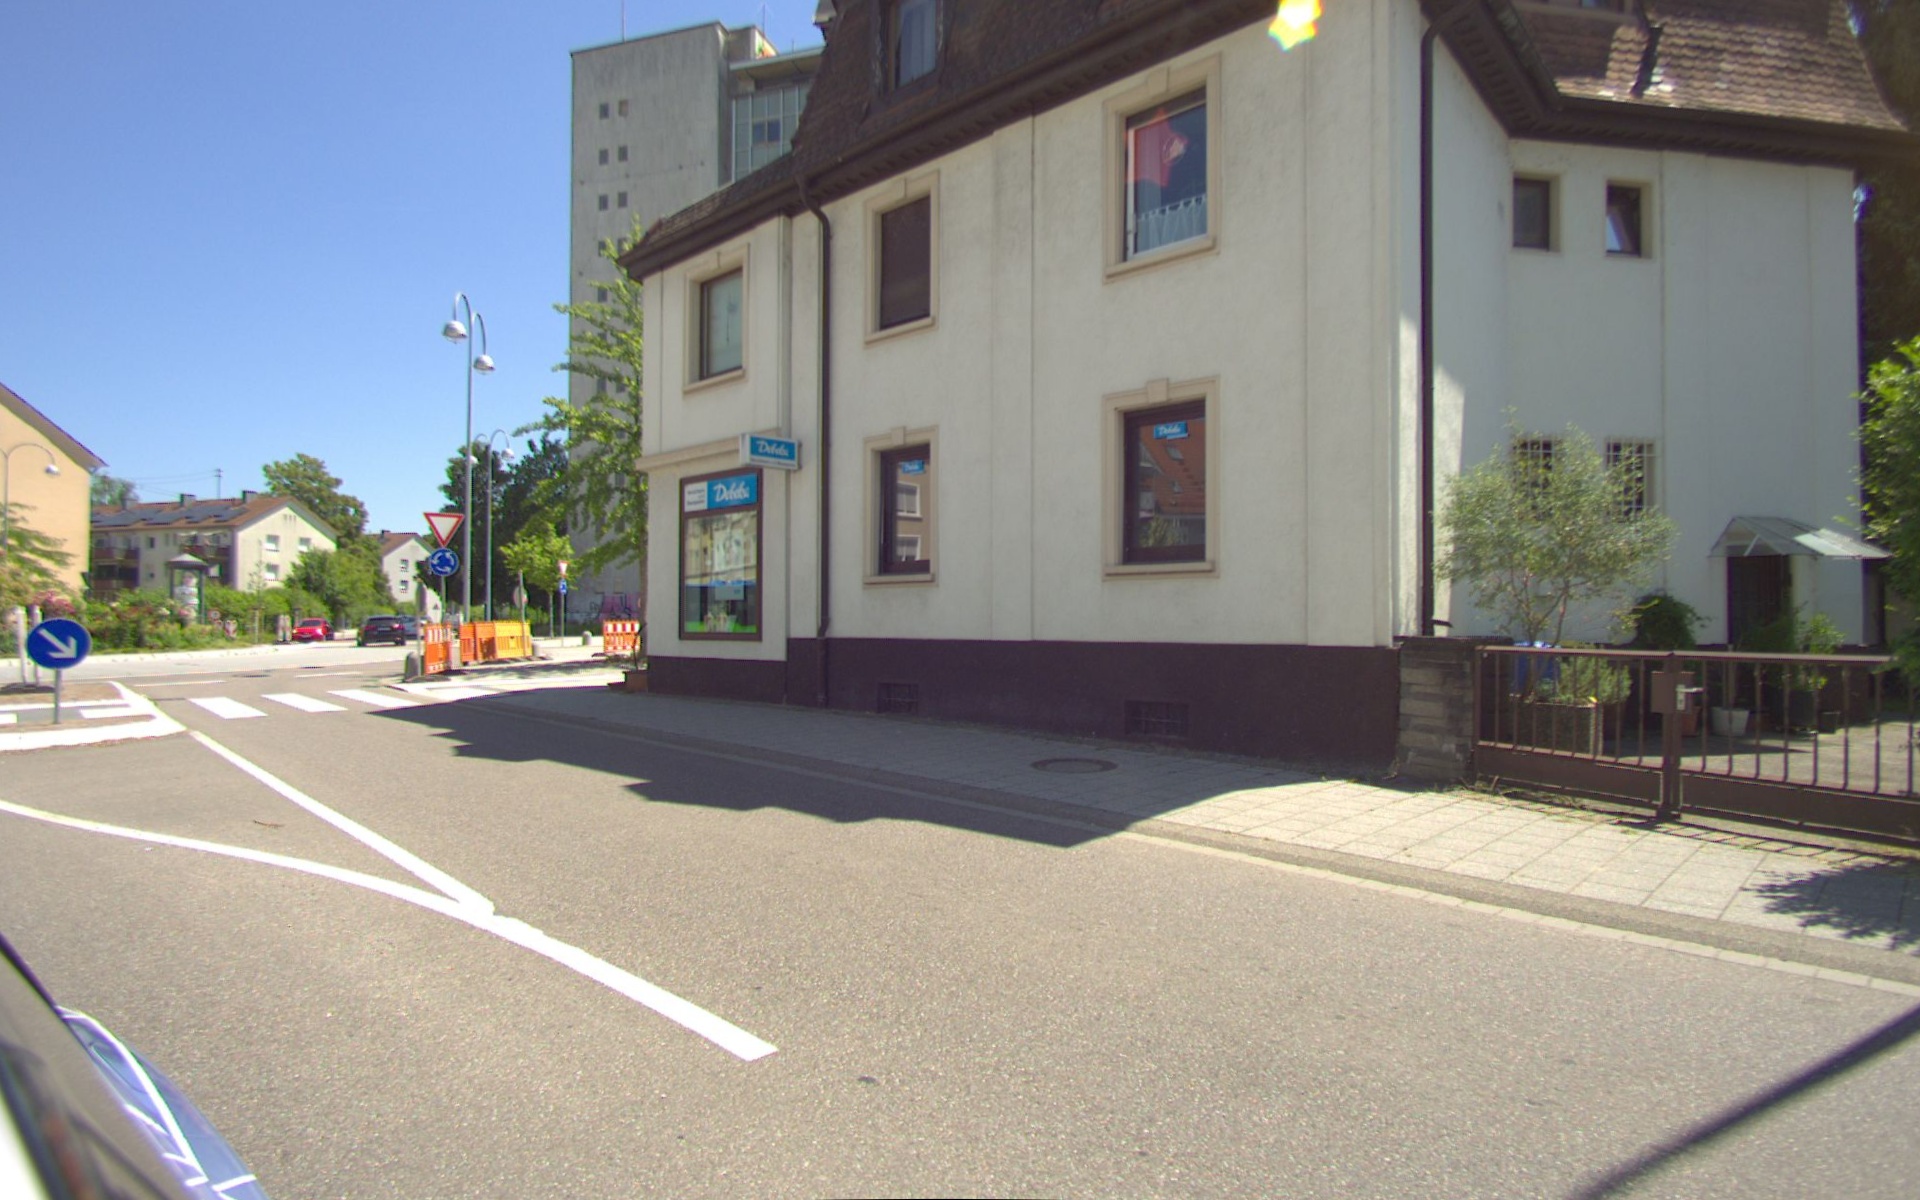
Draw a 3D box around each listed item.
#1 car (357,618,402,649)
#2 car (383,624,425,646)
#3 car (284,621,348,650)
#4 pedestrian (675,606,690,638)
[{"bbox_3d":[-26.758,1.522,46.619,1.702,1.305,4.012,-1,0,-31],"label":"car"},{"bbox_3d":[-34.979,2.182,63.737,1.754,1.366,4.066,0,-2,-20],"label":"car"},{"bbox_3d":[-38.020,2.082,59.850,1.709,1.613,3.943,-1,0,-8],"label":"car"},{"bbox_3d":[-12.857,1.019,46.857,0.559,1.440,0.428,0,-1,14],"label":"pedestrian"}]
